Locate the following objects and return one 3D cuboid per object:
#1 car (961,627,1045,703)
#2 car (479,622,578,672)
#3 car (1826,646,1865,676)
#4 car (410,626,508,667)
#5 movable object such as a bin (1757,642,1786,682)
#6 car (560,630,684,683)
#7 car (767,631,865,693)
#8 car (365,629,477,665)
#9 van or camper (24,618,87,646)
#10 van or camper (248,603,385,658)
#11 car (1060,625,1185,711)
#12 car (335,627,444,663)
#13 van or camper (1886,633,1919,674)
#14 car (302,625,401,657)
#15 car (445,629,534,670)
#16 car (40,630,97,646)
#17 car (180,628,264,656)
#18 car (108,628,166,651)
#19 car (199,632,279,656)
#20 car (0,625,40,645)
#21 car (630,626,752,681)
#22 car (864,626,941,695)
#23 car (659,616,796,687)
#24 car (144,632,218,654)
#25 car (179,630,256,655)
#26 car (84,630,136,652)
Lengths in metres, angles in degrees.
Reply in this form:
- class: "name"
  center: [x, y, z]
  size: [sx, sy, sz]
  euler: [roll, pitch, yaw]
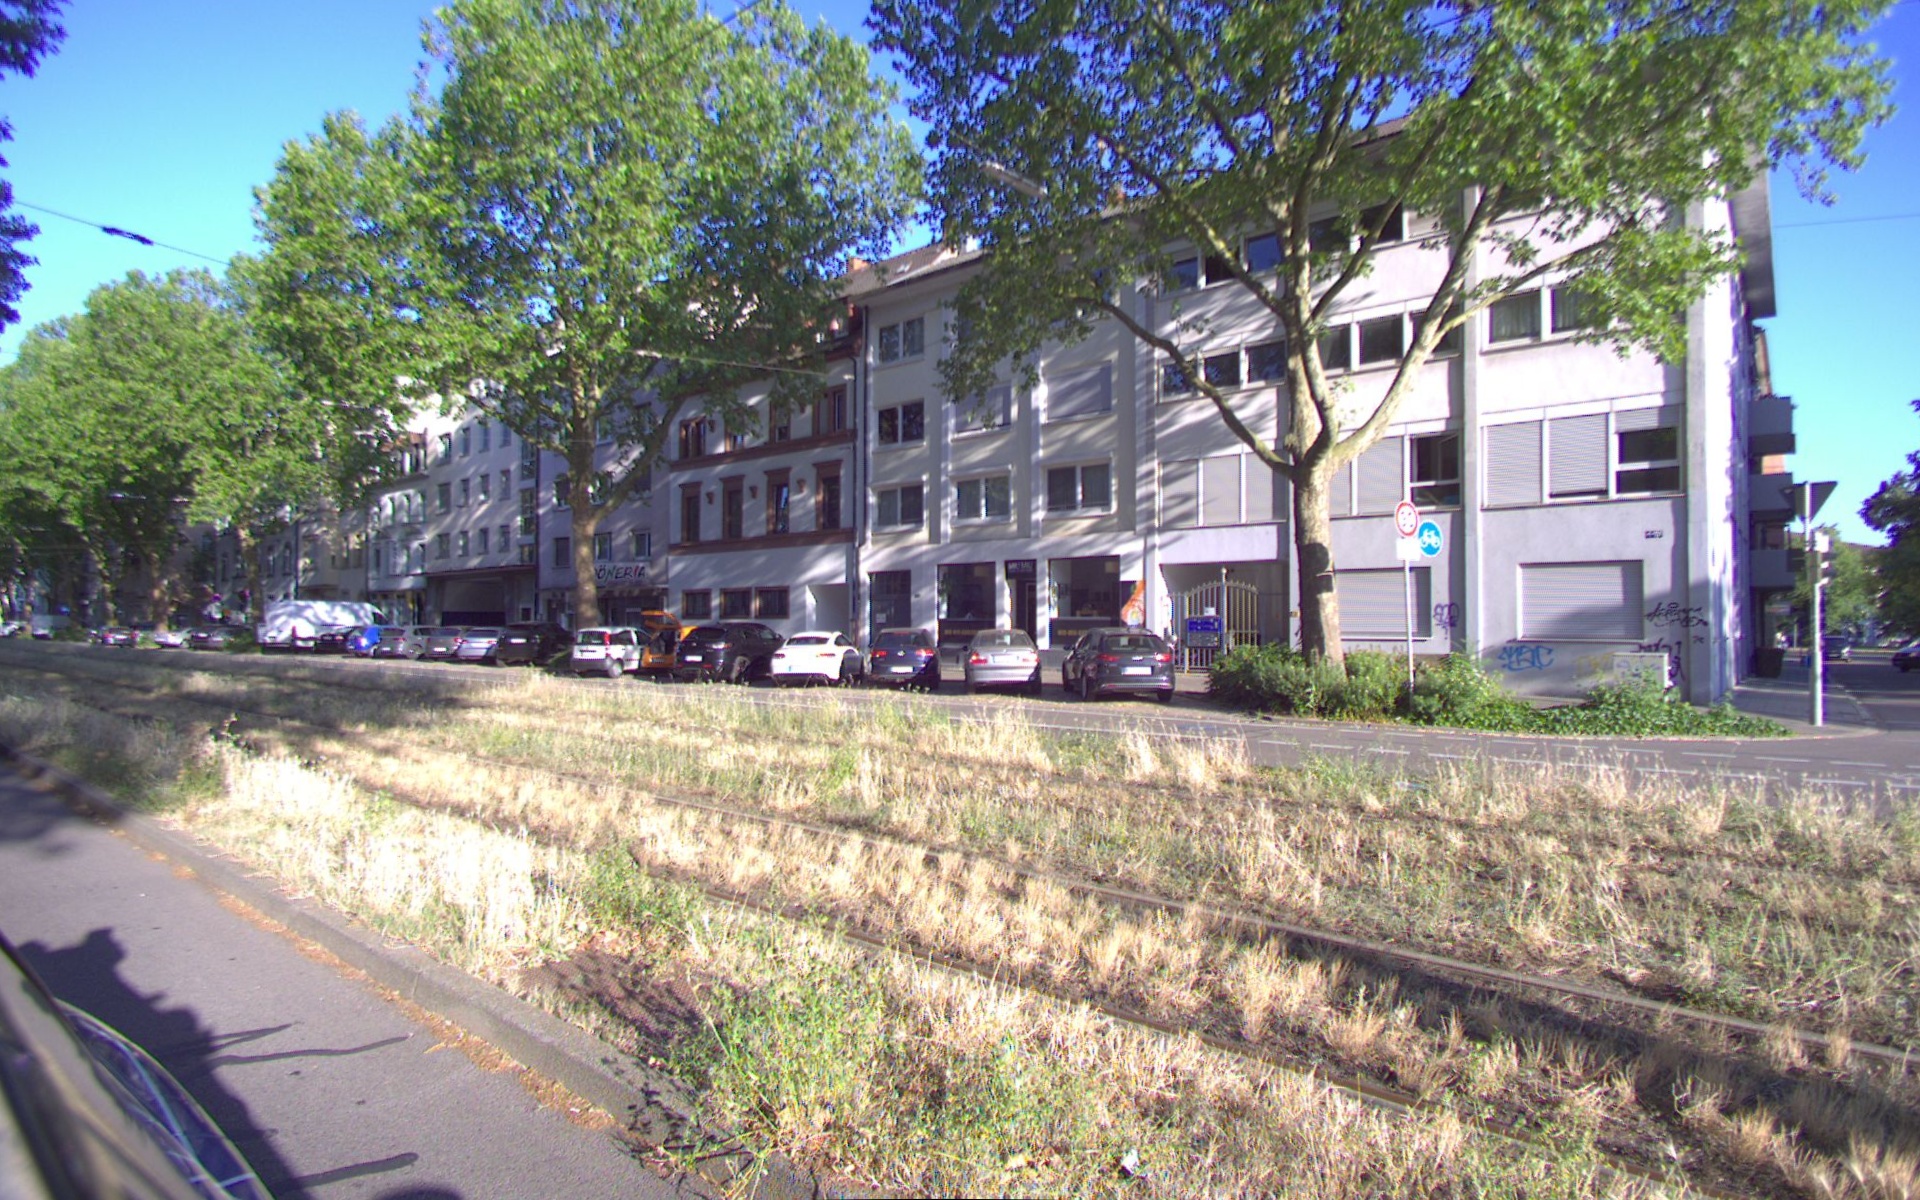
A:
- class: "car"
  center: [0.908, 1.428, 23.262]
  size: [1.698, 1.452, 4.000]
  euler: [-1, 0, -1]
- class: "car"
  center: [-15.675, 1.666, 37.002]
  size: [1.972, 1.673, 4.000]
  euler: [-1, -1, -1]
- class: "car"
  center: [63.366, 4.319, 72.451]
  size: [1.999, 2.029, 3.945]
  euler: [-1, -2, 41]
- class: "car"
  center: [-20.531, 1.880, 41.653]
  size: [1.735, 1.433, 3.993]
  euler: [-1, 0, 6]
- class: "movable object such as a bin"
  center: [27.832, 2.124, 34.726]
  size: [0.745, 1.315, 0.861]
  euler: [-1, -2, 39]
- class: "car"
  center: [-10.455, 1.693, 31.680]
  size: [1.643, 1.460, 4.345]
  euler: [0, -1, 14]
- class: "car"
  center: [-3.686, 1.579, 26.672]
  size: [1.700, 1.343, 4.200]
  euler: [-1, 0, 4]
- class: "car"
  center: [-23.595, 2.019, 44.419]
  size: [1.941, 1.503, 3.964]
  euler: [-1, -2, 27]
- class: "van or camper"
  center: [-88.317, 3.092, 98.874]
  size: [2.171, 2.418, 4.364]
  euler: [-1, 1, 0]
- class: "van or camper"
  center: [-33.104, 1.560, 52.352]
  size: [2.162, 2.666, 5.929]
  euler: [-1, -2, 19]
- class: "car"
  center: [3.303, 1.342, 21.273]
  size: [1.791, 1.490, 4.002]
  euler: [-1, 0, -2]
- class: "car"
  center: [-25.972, 1.995, 46.186]
  size: [1.854, 1.431, 3.951]
  euler: [-1, 0, 36]
- class: "van or camper"
  center: [50.184, 2.688, 50.816]
  size: [5.078, 2.029, 1.994]
  euler: [0, -2, 10]
- class: "car"
  center: [-30.739, 2.076, 51.243]
  size: [1.984, 1.502, 3.975]
  euler: [-1, -2, 18]
- class: "car"
  center: [-18.292, 1.887, 39.565]
  size: [1.883, 1.396, 4.004]
  euler: [-1, -1, -5]
- class: "car"
  center: [-86.012, 3.628, 97.671]
  size: [1.709, 1.256, 3.993]
  euler: [-1, 1, 6]
- class: "car"
  center: [-45.524, 2.610, 62.530]
  size: [1.912, 1.605, 4.155]
  euler: [0, -4, 4]
- class: "car"
  center: [-63.504, 3.037, 78.189]
  size: [1.703, 1.666, 4.008]
  euler: [0, -2, -10]
- class: "car"
  center: [-42.996, 2.639, 60.429]
  size: [1.778, 1.368, 4.002]
  euler: [0, -3, 3]
- class: "car"
  center: [-107.377, 3.983, 115.136]
  size: [1.971, 2.029, 4.002]
  euler: [-1, 0, -2]
- class: "car"
  center: [-8.354, 1.626, 31.779]
  size: [1.764, 1.490, 3.974]
  euler: [-1, 0, 20]
- class: "car"
  center: [-1.433, 1.465, 25.667]
  size: [1.776, 1.452, 4.002]
  euler: [-1, 0, -3]
- class: "car"
  center: [-6.452, 1.467, 28.590]
  size: [1.975, 1.800, 4.343]
  euler: [1, -3, 14]
- class: "car"
  center: [-51.780, 2.830, 67.324]
  size: [1.806, 1.400, 3.670]
  euler: [0, -2, 9]
- class: "car"
  center: [-47.723, 2.787, 65.158]
  size: [1.803, 1.545, 3.994]
  euler: [0, -3, 4]
- class: "car"
  center: [-56.570, 2.711, 67.319]
  size: [4.480, 1.400, 1.802]
  euler: [-1, -4, 40]
